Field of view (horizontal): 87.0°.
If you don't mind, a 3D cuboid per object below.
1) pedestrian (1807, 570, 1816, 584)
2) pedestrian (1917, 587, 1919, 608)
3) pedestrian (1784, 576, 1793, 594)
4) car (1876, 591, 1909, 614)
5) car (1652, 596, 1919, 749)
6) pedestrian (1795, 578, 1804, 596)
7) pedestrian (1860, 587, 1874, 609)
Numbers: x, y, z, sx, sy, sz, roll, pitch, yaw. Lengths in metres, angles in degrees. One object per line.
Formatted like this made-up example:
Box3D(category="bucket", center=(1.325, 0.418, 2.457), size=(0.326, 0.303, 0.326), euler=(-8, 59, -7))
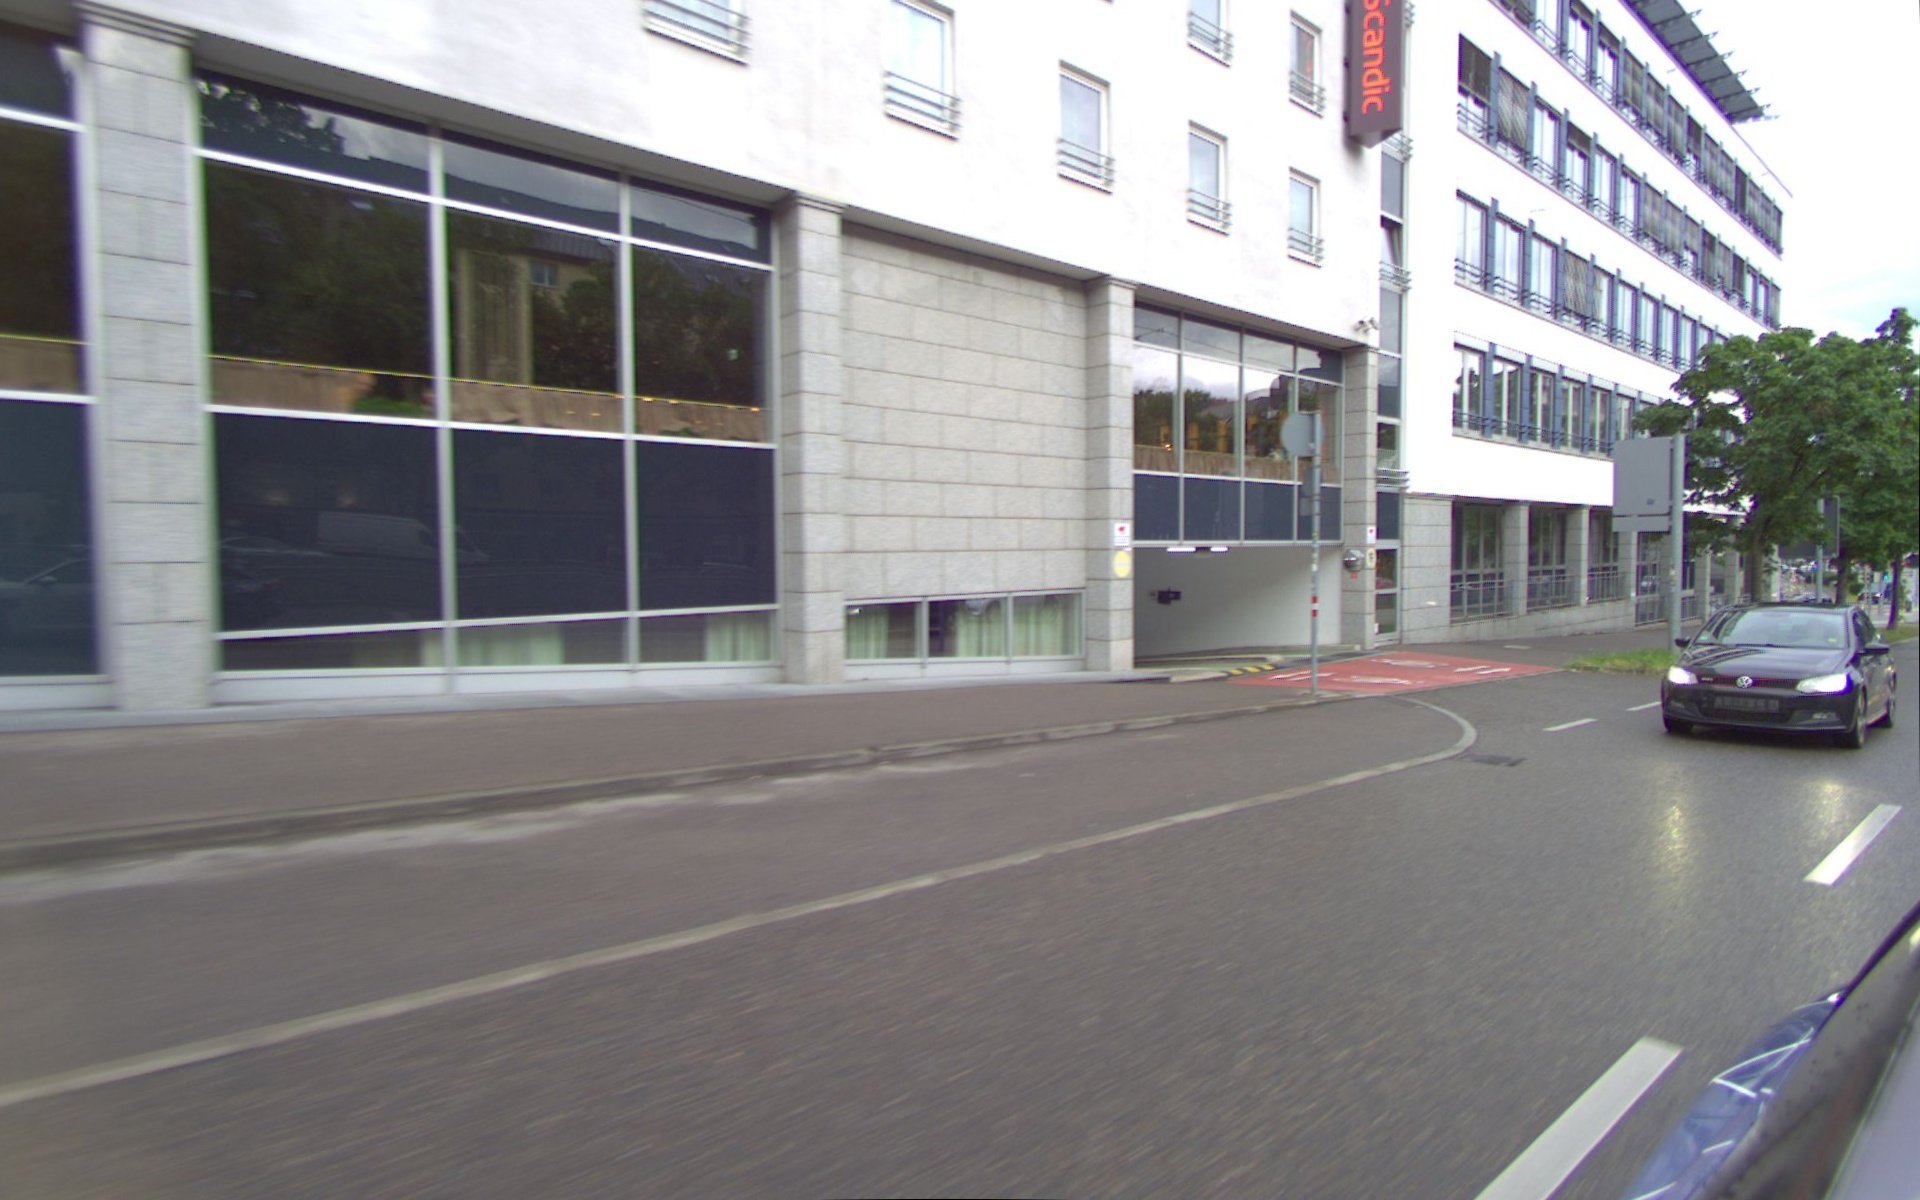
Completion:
Box3D(category="pedestrian", center=(92.707, -2.509, 110.205), size=(0.582, 1.496, 0.598), euler=(-1, 0, 28))
Box3D(category="pedestrian", center=(69.269, -0.211, 72.674), size=(0.582, 1.496, 0.598), euler=(-1, 0, 28))
Box3D(category="pedestrian", center=(76.171, -1.397, 93.020), size=(0.584, 1.630, 0.597), euler=(-1, 0, 35))
Box3D(category="car", center=(83.323, 0.200, 90.446), size=(4.219, 1.885, 1.796), euler=(-1, 1, -42))
Box3D(category="car", center=(9.350, 0.678, 11.334), size=(3.780, 1.417, 1.677), euler=(0, 0, -40))
Box3D(category="pedestrian", center=(76.786, -1.222, 92.581), size=(0.584, 1.630, 0.597), euler=(-1, 0, 35))
Box3D(category="pedestrian", center=(66.981, -0.134, 74.725), size=(0.632, 1.645, 0.707), euler=(-1, 0, -39))
